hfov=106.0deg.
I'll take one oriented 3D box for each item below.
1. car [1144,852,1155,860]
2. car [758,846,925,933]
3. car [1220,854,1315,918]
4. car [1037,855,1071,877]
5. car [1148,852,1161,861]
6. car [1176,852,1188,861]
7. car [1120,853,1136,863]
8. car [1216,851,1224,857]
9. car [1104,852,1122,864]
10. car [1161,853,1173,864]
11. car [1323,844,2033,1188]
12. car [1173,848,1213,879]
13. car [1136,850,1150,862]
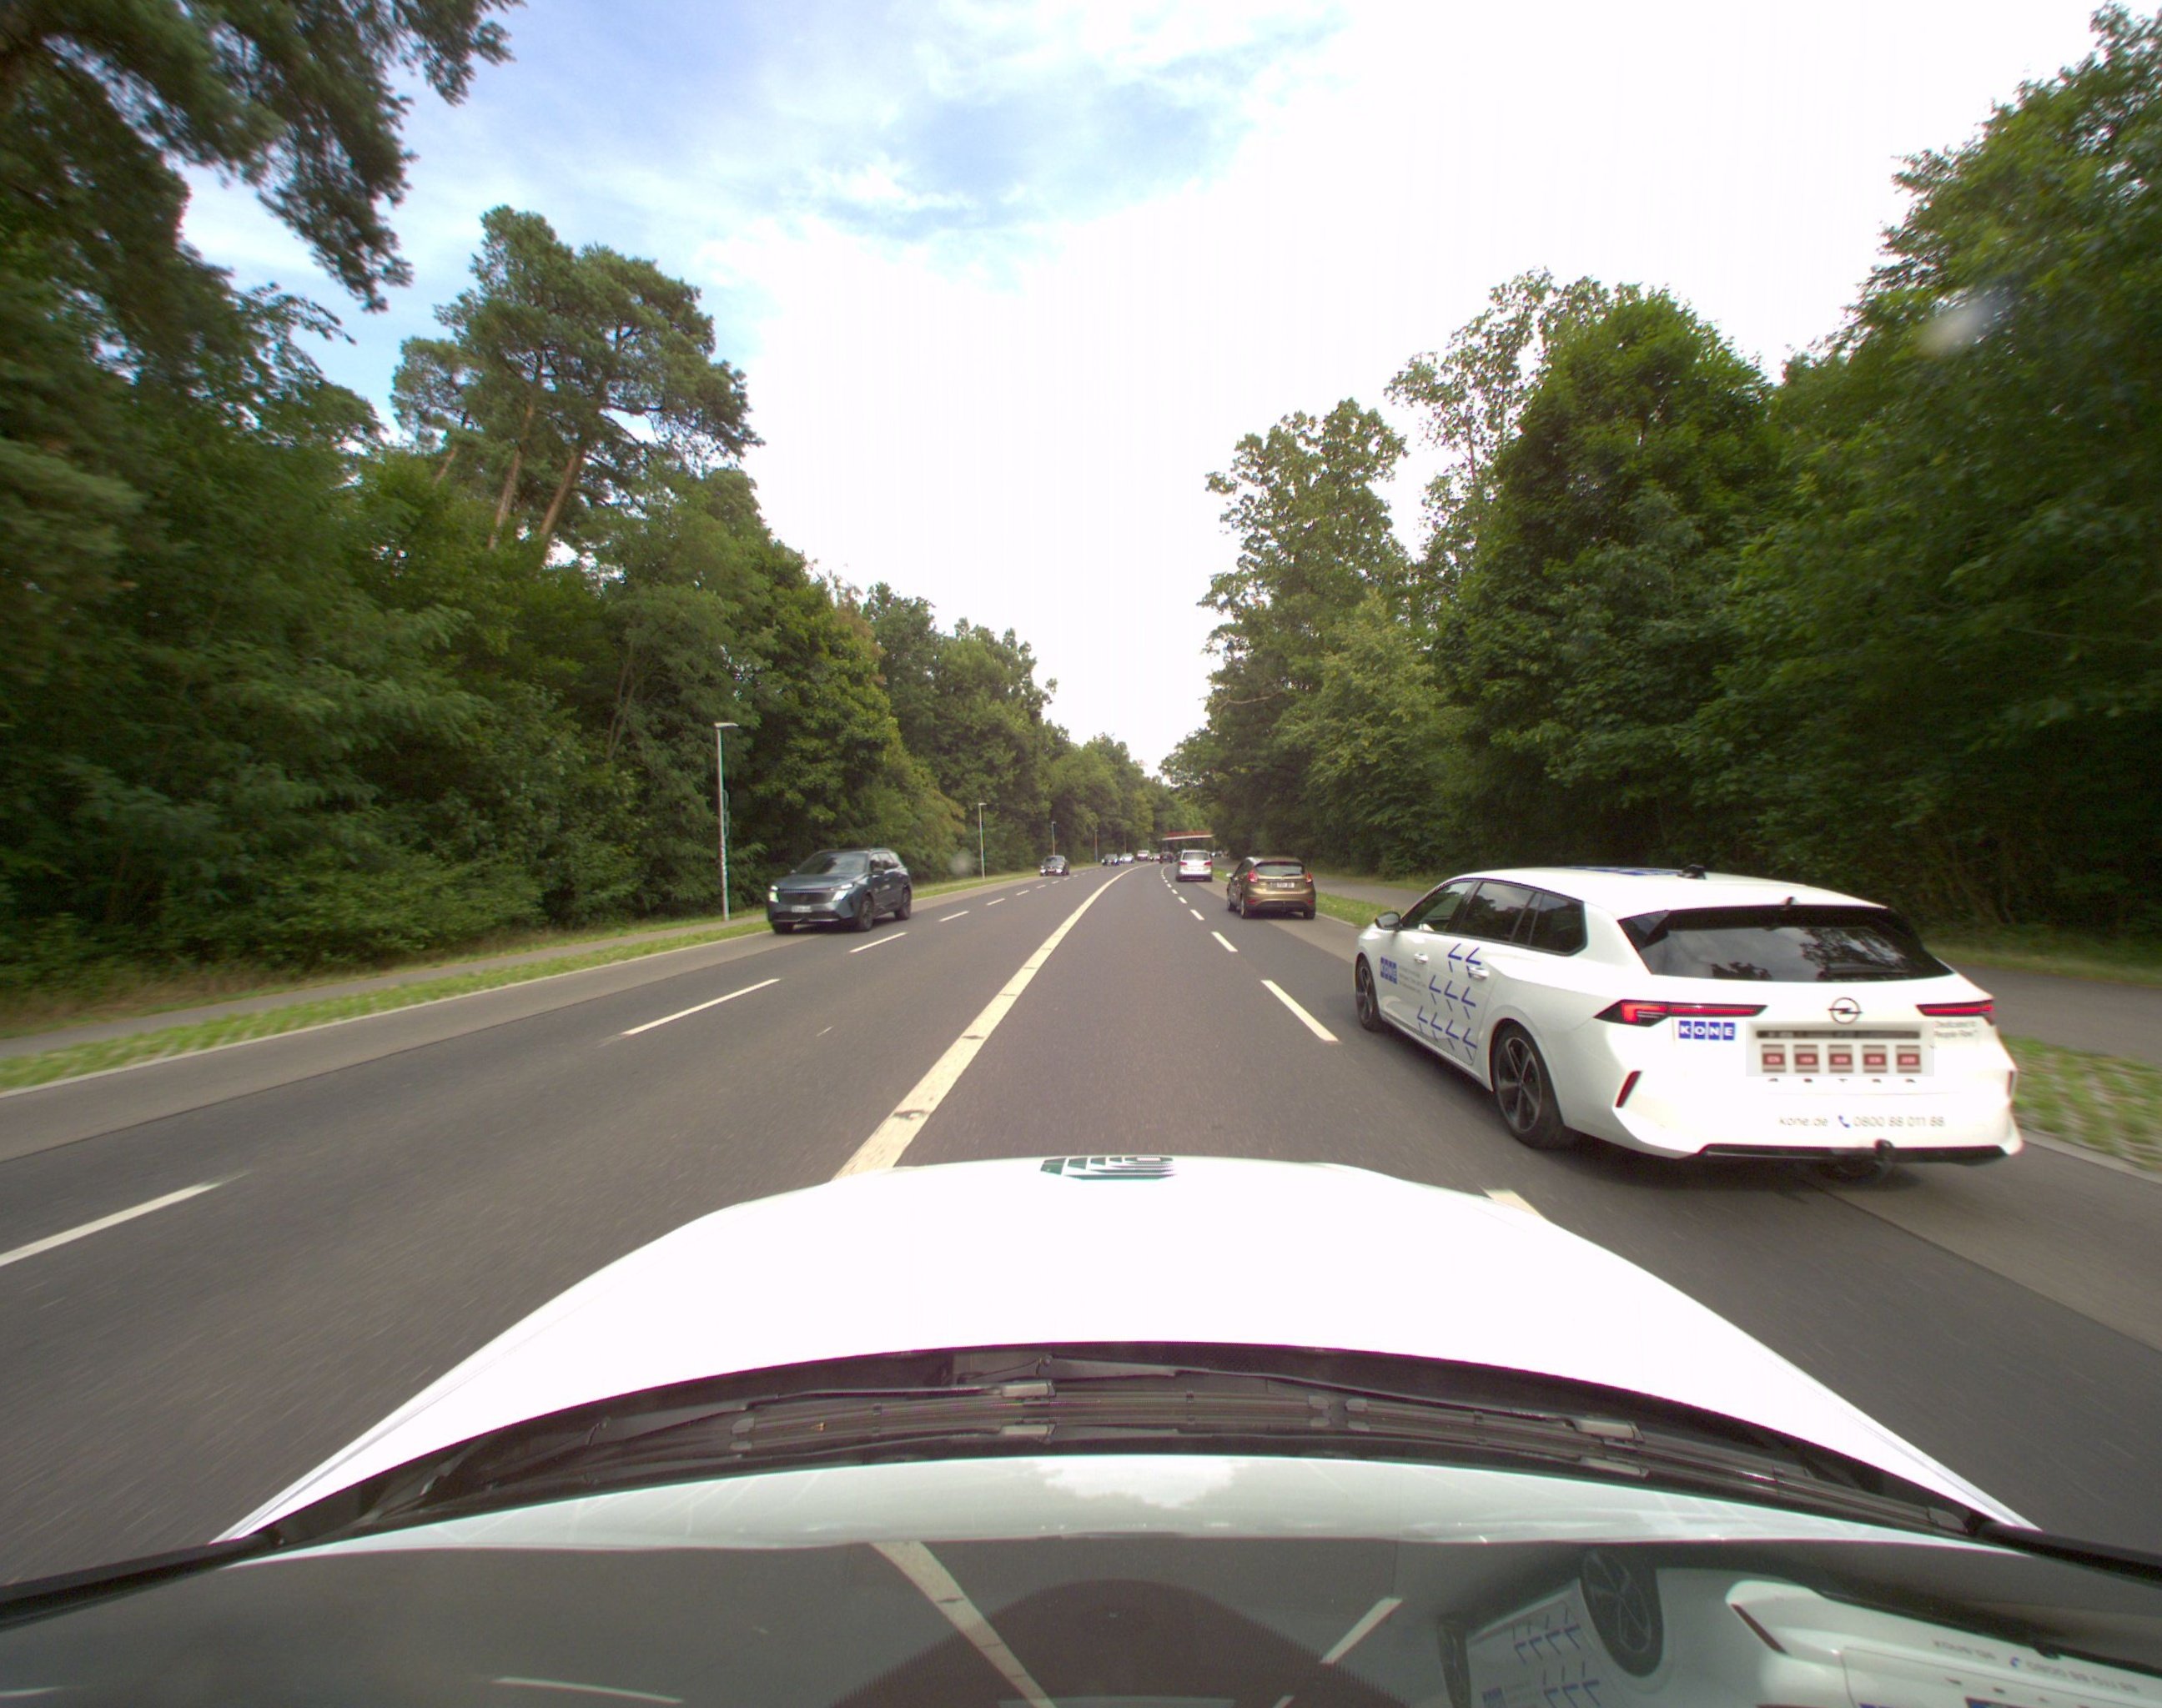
[{"bbox_3d":[13.938,0.417,166.124,1.874,1.558,4.529,-1,-1,9],"label":"car"},{"bbox_3d":[-5.075,0.718,18.027,1.985,1.617,4.668,-2,-1,4],"label":"car"},{"bbox_3d":[4.505,0.748,20.208,1.629,1.420,4.002,1,-1,3],"label":"car"},{"bbox_3d":[-1.906,0.884,58.578,1.887,1.484,4.544,1,-1,5],"label":"car"},{"bbox_3d":[12.673,0.494,140.588,1.644,1.486,3.882,0,-1,15],"label":"car"},{"bbox_3d":[19.753,0.427,159.102,1.980,1.697,4.013,1,-1,13],"label":"car"},{"bbox_3d":[7.138,0.626,122.789,1.982,1.563,4.614,1,-1,8],"label":"car"},{"bbox_3d":[39.345,-0.096,230.785,1.980,1.706,4.014,-1,0,12],"label":"car"},{"bbox_3d":[4.039,0.546,102.599,1.870,1.443,4.413,1,-1,8],"label":"car"},{"bbox_3d":[12.612,0.674,119.422,1.720,1.587,4.008,1,-1,8],"label":"car"},{"bbox_3d":[3.138,0.663,5.640,1.828,1.410,4.495,-1,0,4],"label":"car"},{"bbox_3d":[6.010,0.519,44.012,1.984,1.607,4.006,1,-1,5],"label":"car"},{"bbox_3d":[11.329,0.437,148.733,1.981,2.014,5.069,-2,-1,11],"label":"car"}]
